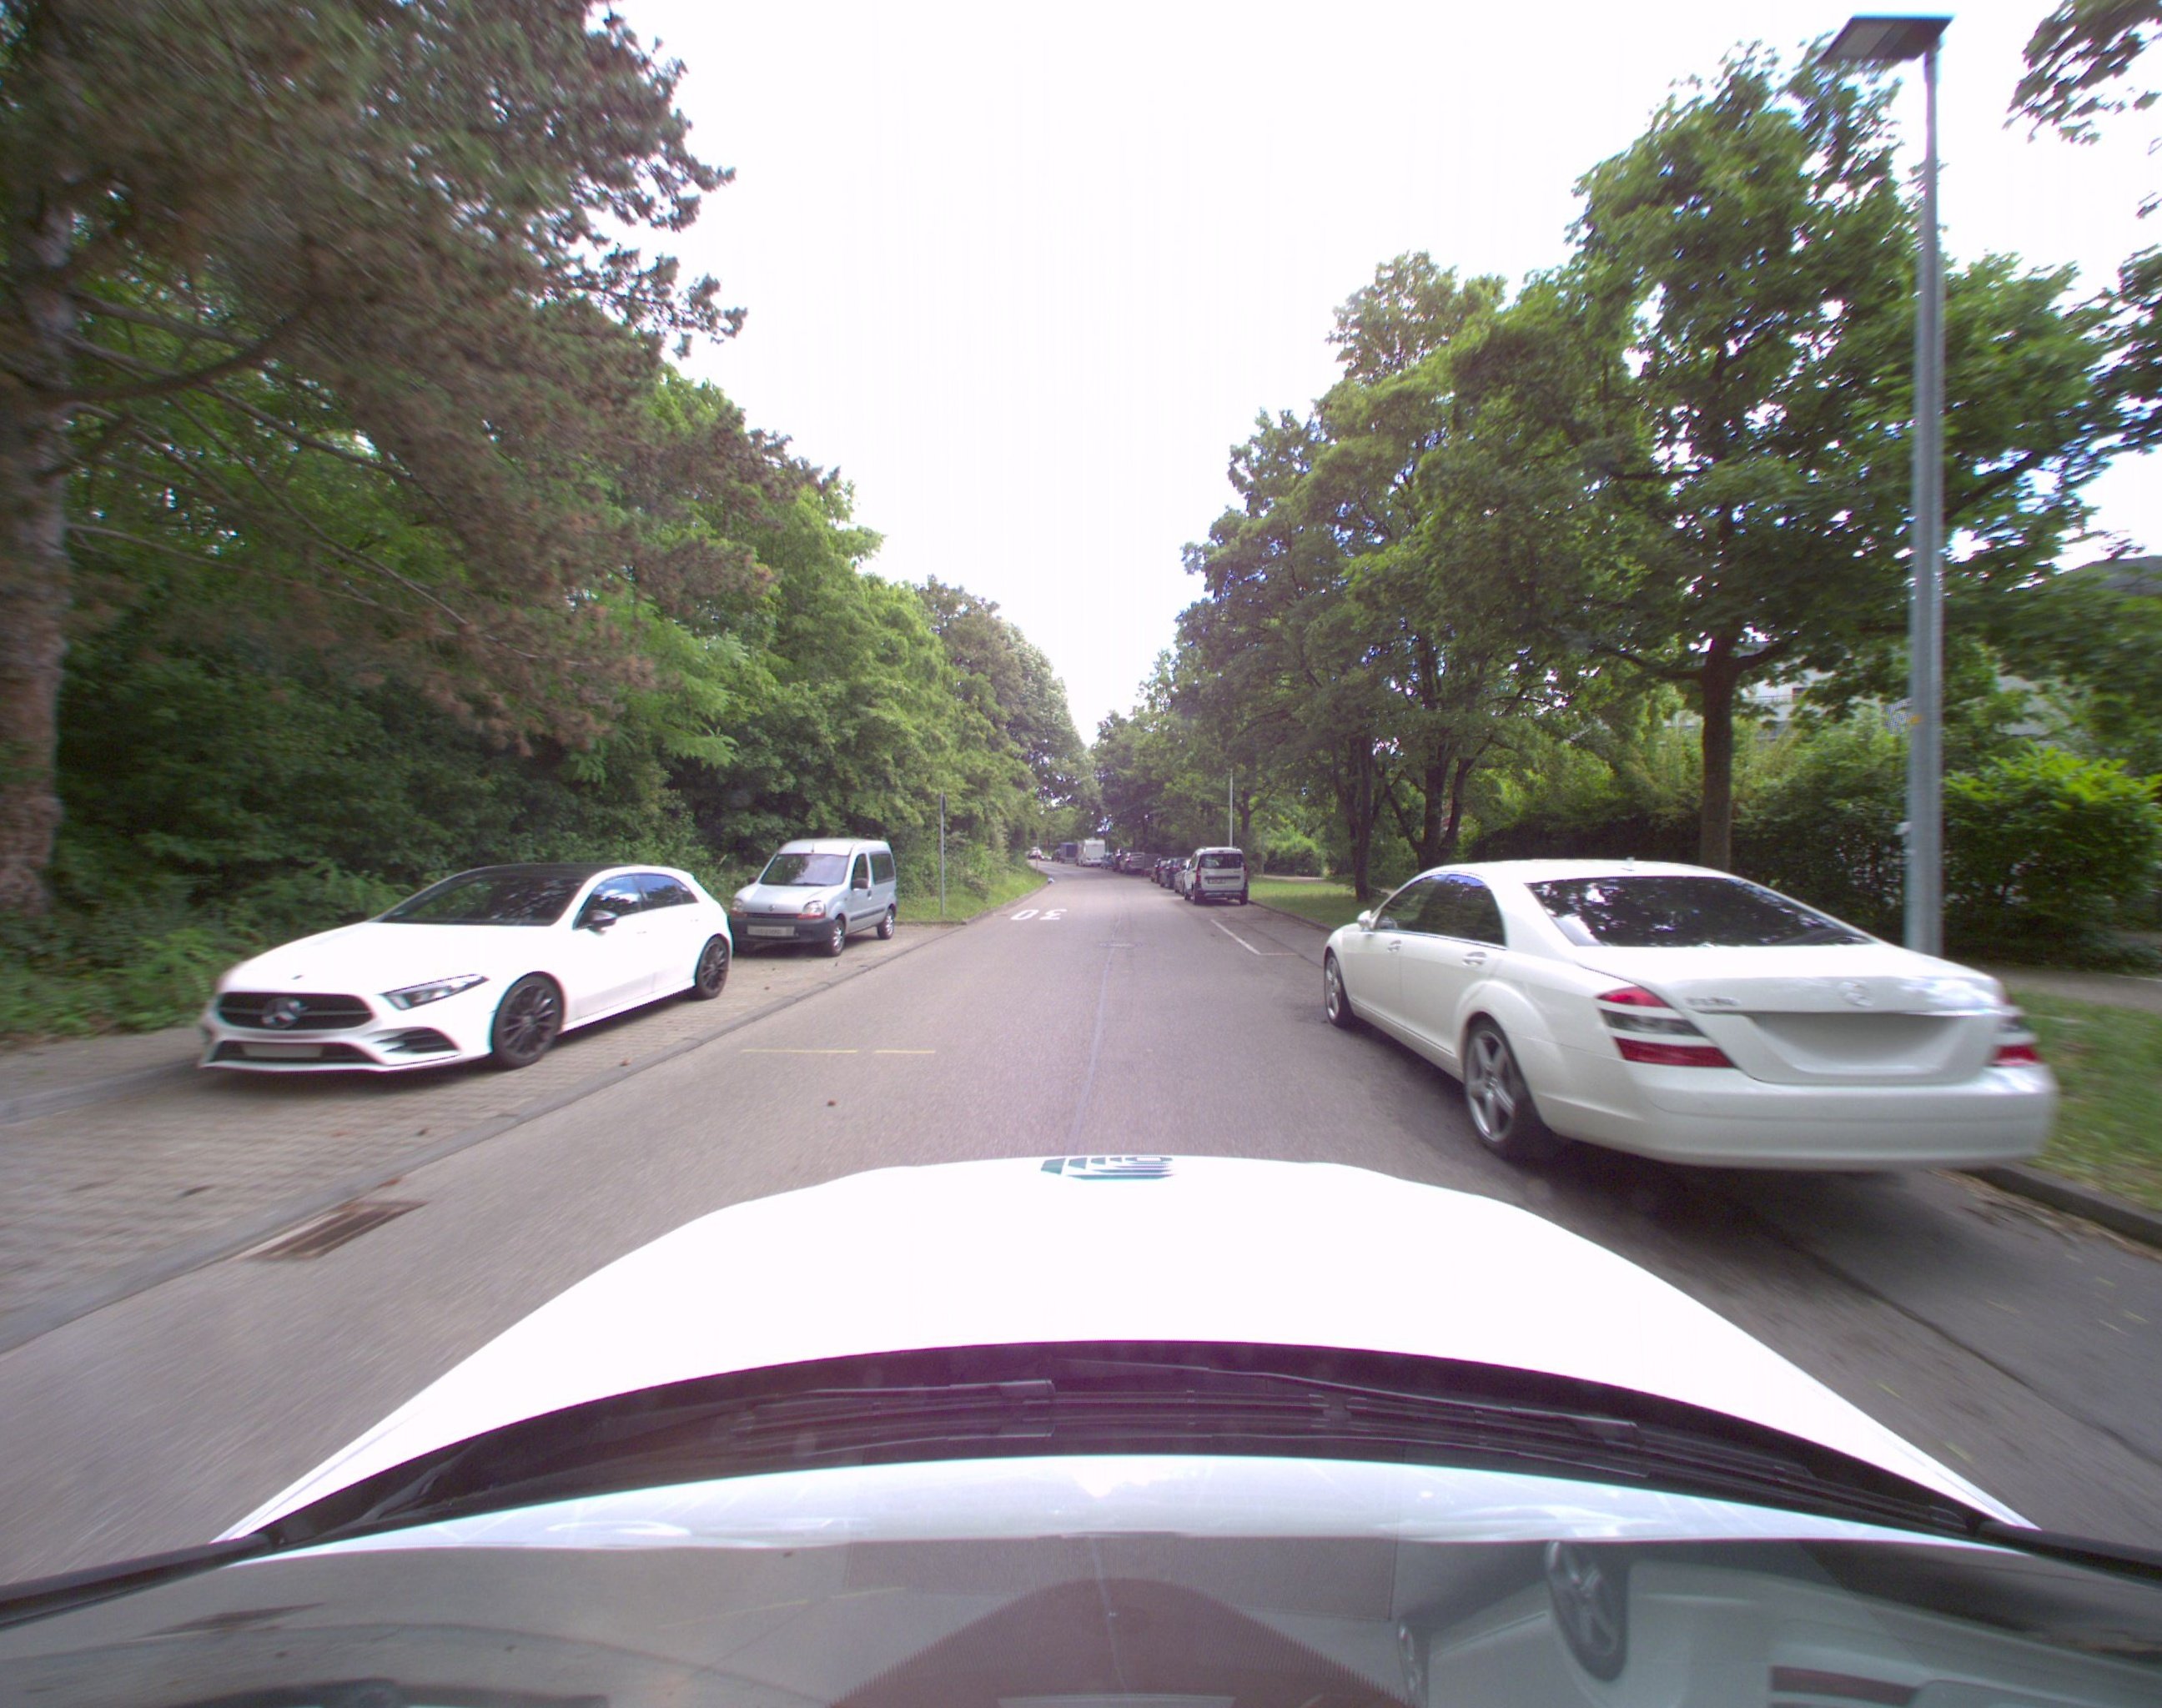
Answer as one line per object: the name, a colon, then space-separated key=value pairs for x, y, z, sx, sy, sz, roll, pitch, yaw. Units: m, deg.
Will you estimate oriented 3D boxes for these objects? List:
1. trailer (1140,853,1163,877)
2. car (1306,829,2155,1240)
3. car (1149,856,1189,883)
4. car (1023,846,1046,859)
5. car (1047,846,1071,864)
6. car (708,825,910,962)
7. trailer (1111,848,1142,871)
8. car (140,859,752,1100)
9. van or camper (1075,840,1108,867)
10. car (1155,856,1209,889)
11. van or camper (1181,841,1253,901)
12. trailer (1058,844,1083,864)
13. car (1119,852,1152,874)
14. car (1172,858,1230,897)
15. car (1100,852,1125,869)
trailer: x=4.917 y=0.760 z=56.985 sx=1.275 sy=1.585 sz=2.458 roll=0 pitch=0 yaw=-2
car: x=3.101 y=0.675 z=5.601 sx=1.879 sy=1.507 sz=5.179 roll=-1 pitch=0 yaw=2
car: x=4.936 y=0.869 z=46.160 sx=1.716 sy=1.453 sz=3.914 roll=0 pitch=0 yaw=-2
car: x=-6.720 y=-0.262 z=117.720 sx=2.043 sy=1.803 sz=4.052 roll=-1 pitch=1 yaw=-23
car: x=-2.863 y=0.080 z=104.926 sx=1.999 sy=2.025 sz=3.976 roll=-3 pitch=3 yaw=-18
car: x=-4.351 y=0.540 z=13.763 sx=1.713 sy=1.921 sz=4.110 roll=2 pitch=1 yaw=4
trailer: x=3.835 y=0.440 z=69.522 sx=1.976 sy=1.811 sz=5.140 roll=-1 pitch=1 yaw=-5
car: x=-4.761 y=0.775 z=7.153 sx=1.799 sy=1.403 sz=4.374 roll=1 pitch=0 yaw=2
van or camper: x=1.065 y=-0.077 z=89.172 sx=2.482 sy=2.876 sz=6.867 roll=0 pitch=0 yaw=-9
car: x=4.740 y=0.834 z=38.822 sx=1.843 sy=1.474 sz=4.474 roll=0 pitch=0 yaw=-3
van or camper: x=4.420 y=0.580 z=27.065 sx=1.795 sy=1.838 sz=4.322 roll=0 pitch=-2 yaw=2
trailer: x=-1.355 y=0.022 z=99.665 sx=1.999 sy=2.398 sz=3.977 roll=-1 pitch=0 yaw=-17
car: x=4.203 y=0.729 z=63.221 sx=1.790 sy=1.670 sz=4.491 roll=-1 pitch=-1 yaw=-6
car: x=4.762 y=0.903 z=32.809 sx=1.806 sy=1.437 sz=4.244 roll=1 pitch=0 yaw=1
car: x=3.060 y=0.581 z=78.852 sx=1.798 sy=1.562 sz=3.825 roll=-1 pitch=1 yaw=-7
